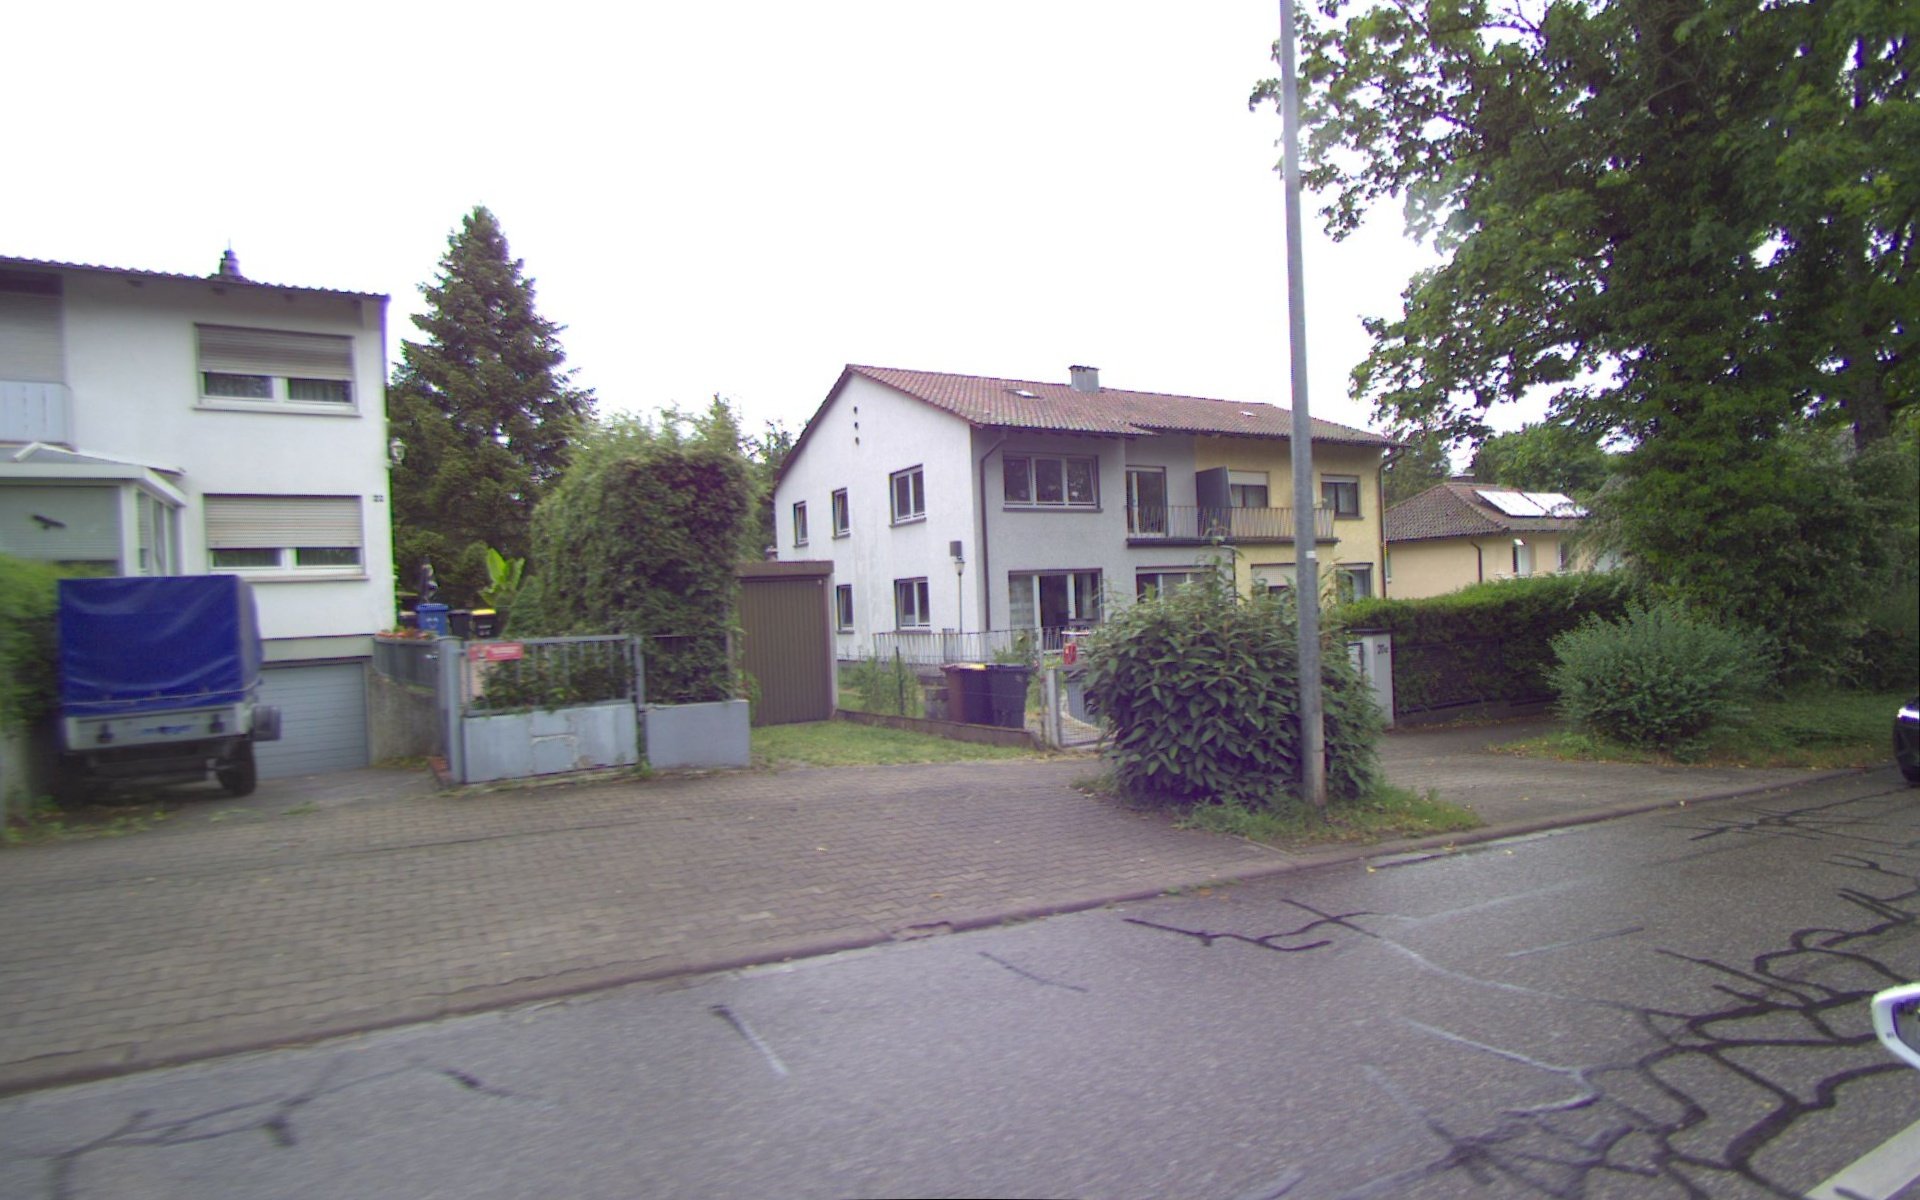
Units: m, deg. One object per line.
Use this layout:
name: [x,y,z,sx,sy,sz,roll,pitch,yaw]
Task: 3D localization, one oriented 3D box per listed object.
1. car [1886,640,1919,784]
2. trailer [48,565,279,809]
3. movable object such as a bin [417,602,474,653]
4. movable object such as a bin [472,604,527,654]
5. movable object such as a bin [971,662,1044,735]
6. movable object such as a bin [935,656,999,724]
car: [11.436,1.050,10.259,4.275,1.381,1.746,0,-3,-31]
trailer: [-7.123,0.788,9.198,1.411,1.822,3.099,-1,-5,-35]
movable object such as a bin: [-10.701,0.558,20.885,1.004,1.022,1.017,0,0,-30]
movable object such as a bin: [-9.821,0.602,21.410,1.004,1.022,1.017,0,0,-30]
movable object such as a bin: [0.587,1.209,12.510,0.627,0.836,0.705,0,0,-31]
movable object such as a bin: [0.089,1.180,13.382,0.627,0.836,0.629,0,0,-31]
